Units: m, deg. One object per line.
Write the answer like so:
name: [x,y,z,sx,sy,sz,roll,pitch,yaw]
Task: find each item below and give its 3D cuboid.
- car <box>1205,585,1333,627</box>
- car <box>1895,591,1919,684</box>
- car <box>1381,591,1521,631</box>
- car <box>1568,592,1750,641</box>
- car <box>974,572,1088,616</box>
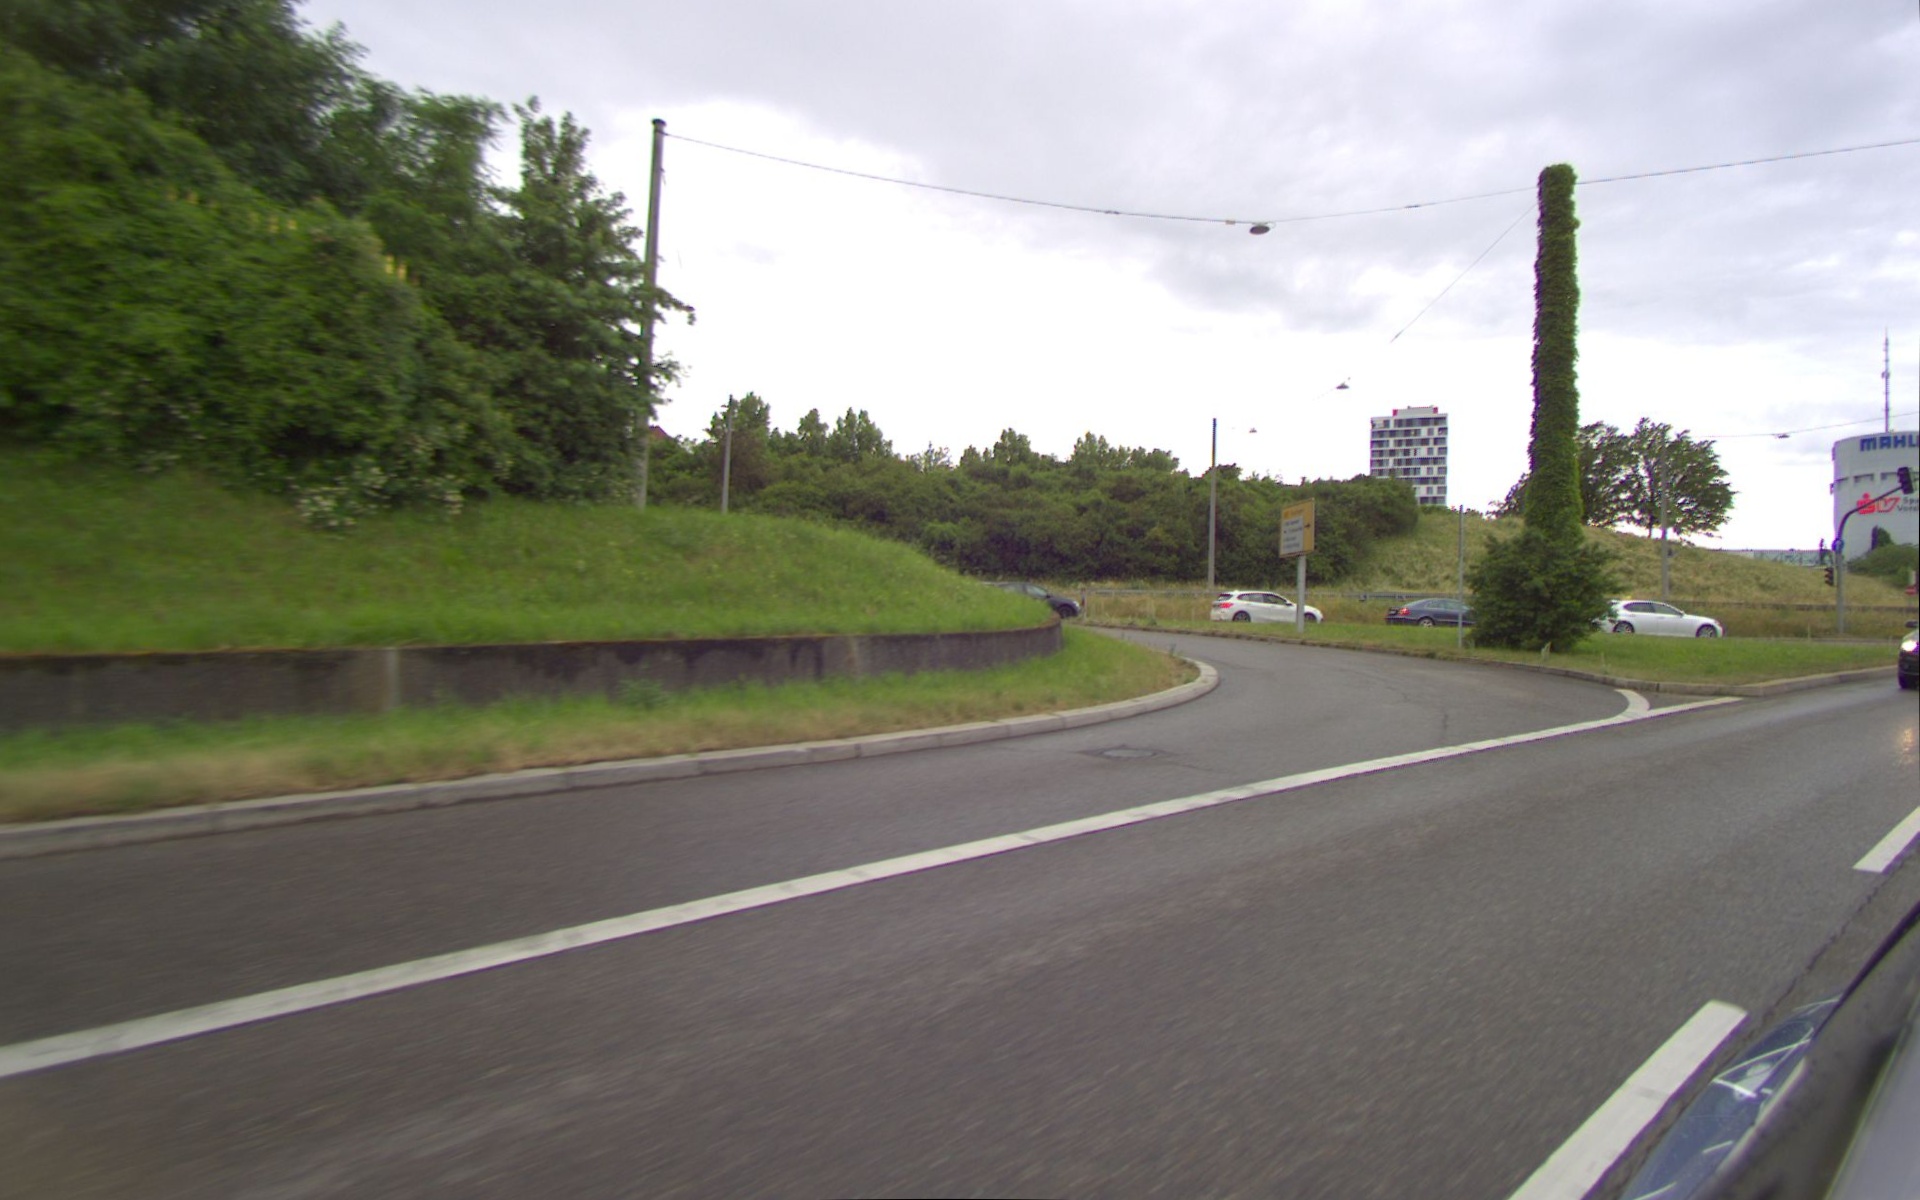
car: [11.870,0.237,39.043,4.186,1.447,2.077,2,-1,-5]
car: [18.939,0.682,18.437,4.197,1.621,1.929,1,-1,-34]
car: [19.002,0.432,39.311,4.473,1.368,1.841,2,-1,5]
car: [24.613,0.558,35.786,4.899,1.666,2.073,0,0,3]
car: [2.572,-0.198,37.119,3.837,1.432,1.678,2,-1,-9]
